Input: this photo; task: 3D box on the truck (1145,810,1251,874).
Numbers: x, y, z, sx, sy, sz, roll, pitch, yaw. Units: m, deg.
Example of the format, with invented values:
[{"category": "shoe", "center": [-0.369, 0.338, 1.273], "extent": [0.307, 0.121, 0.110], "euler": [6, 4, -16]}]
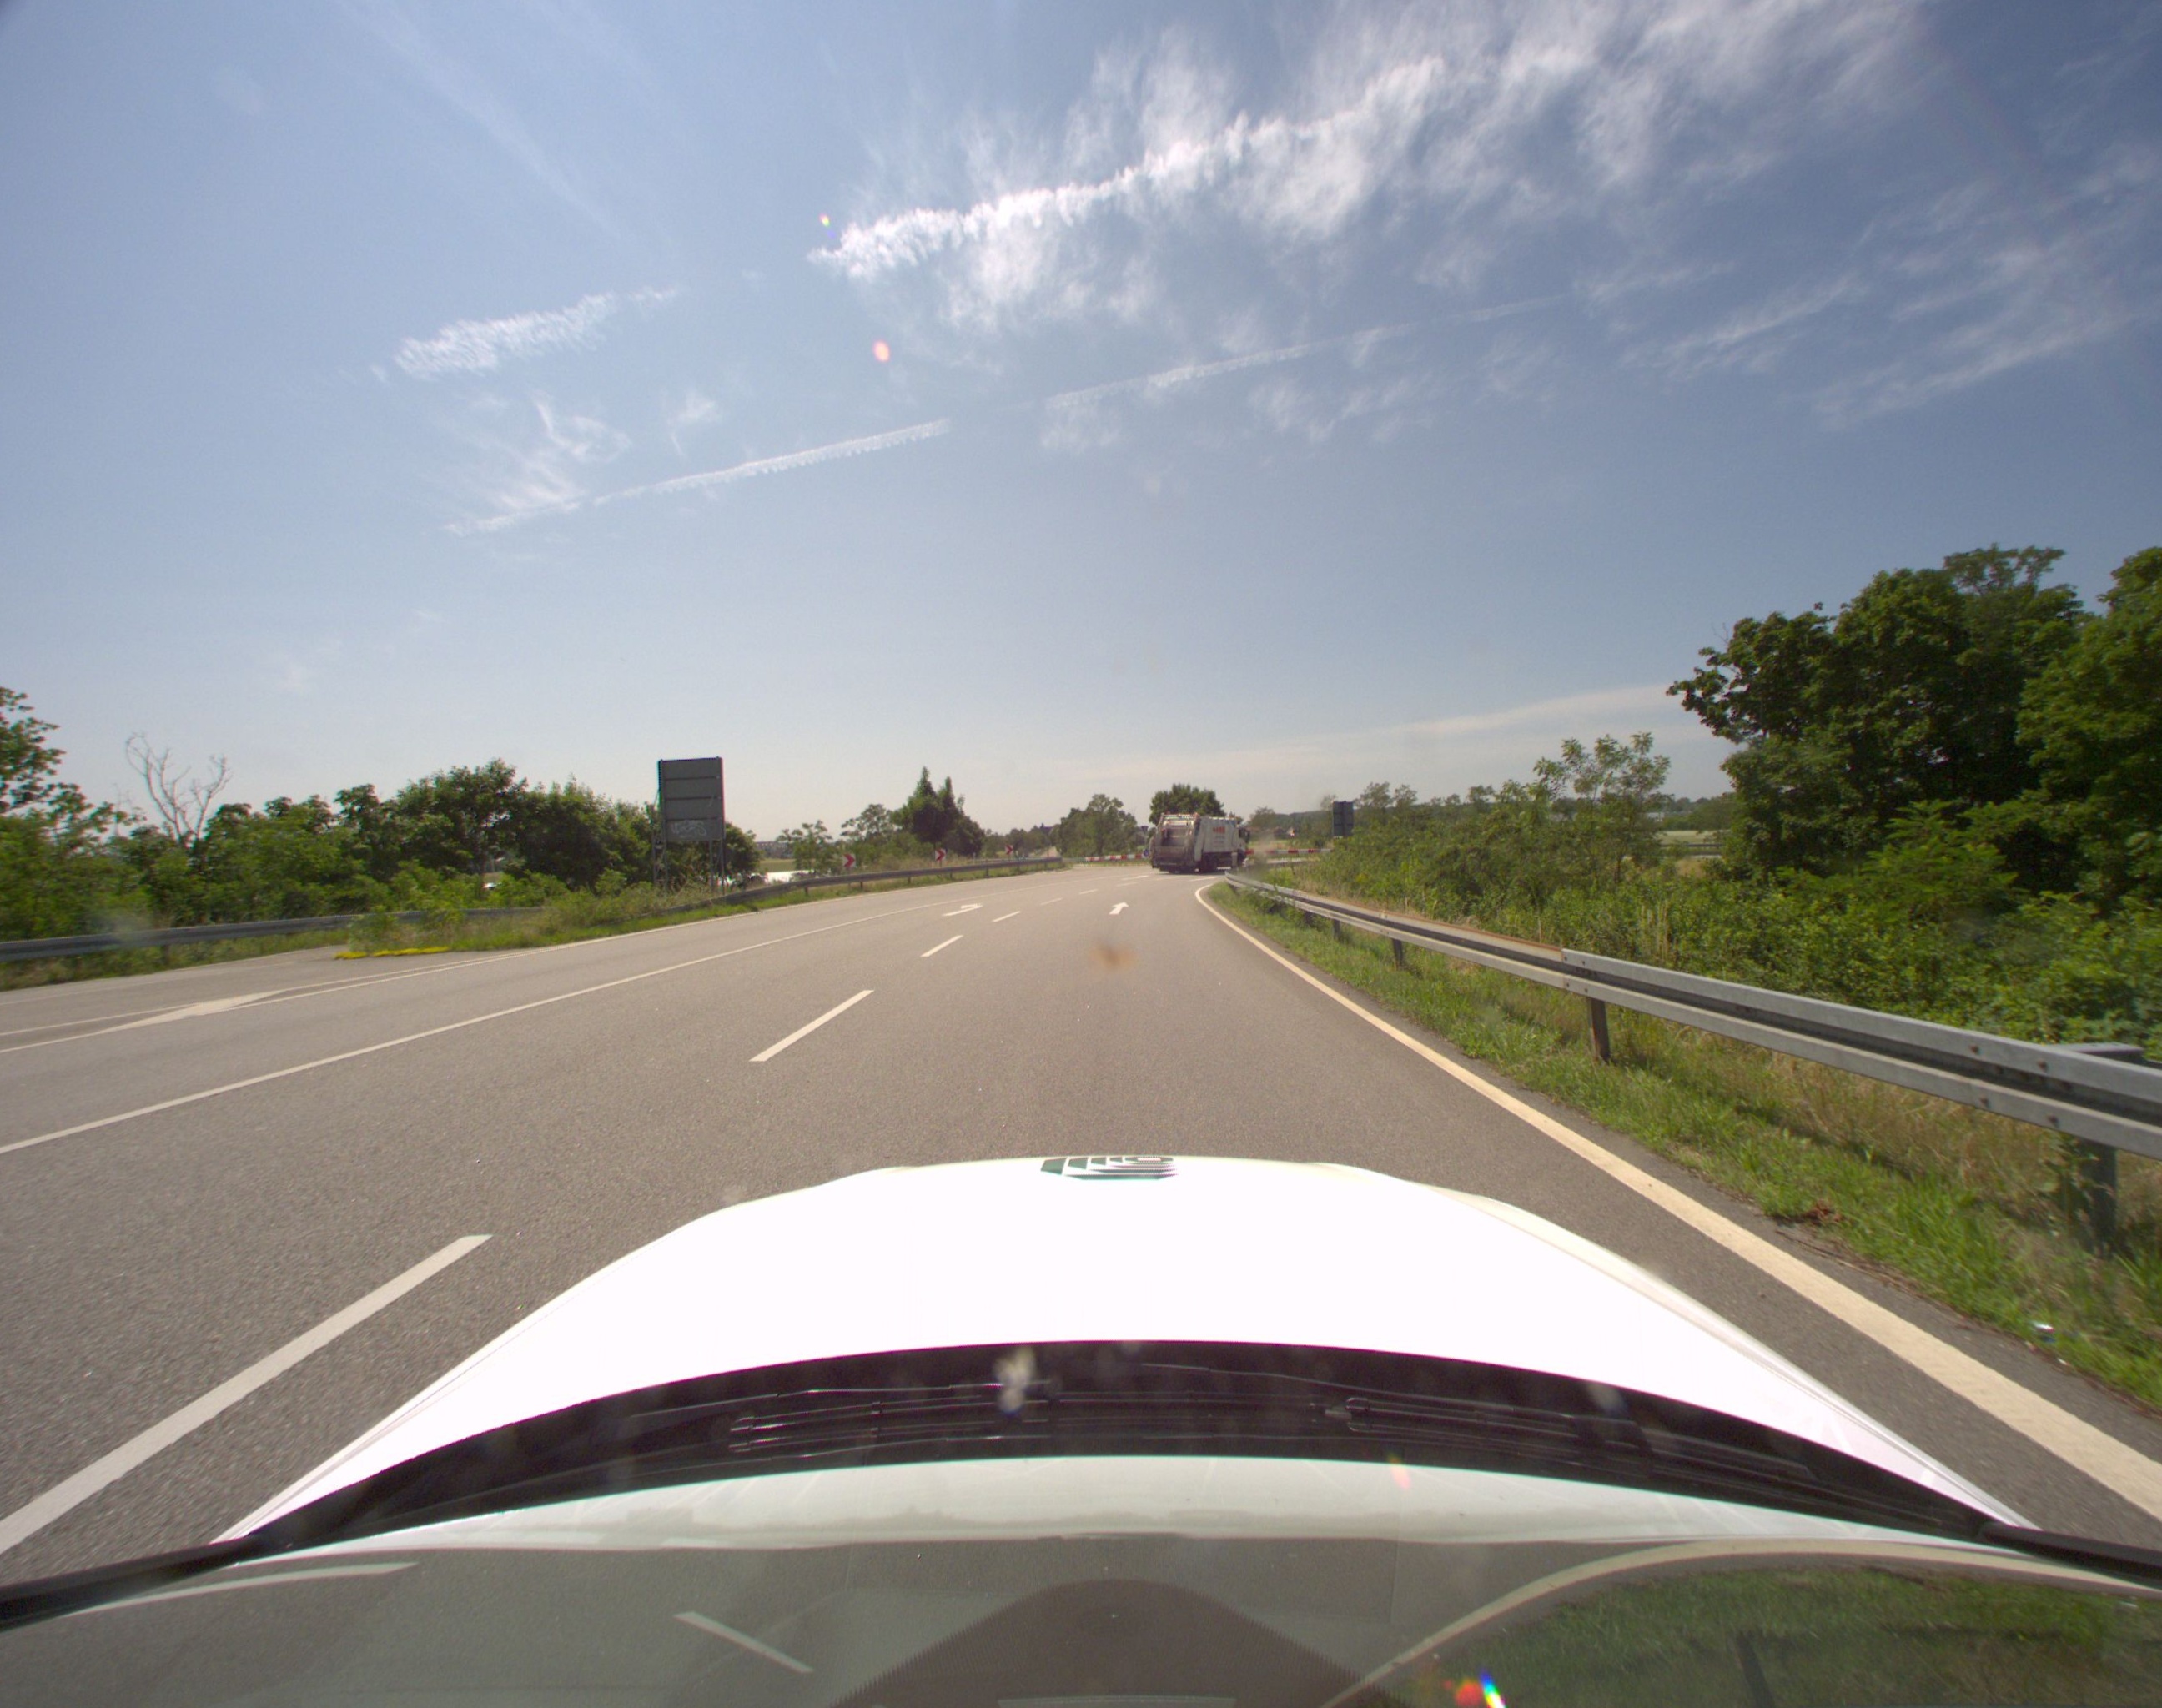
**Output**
[{"category": "truck", "center": [7.649, -0.733, 51.783], "extent": [2.786, 3.669, 10.011], "euler": [-1, 0, 32]}]
